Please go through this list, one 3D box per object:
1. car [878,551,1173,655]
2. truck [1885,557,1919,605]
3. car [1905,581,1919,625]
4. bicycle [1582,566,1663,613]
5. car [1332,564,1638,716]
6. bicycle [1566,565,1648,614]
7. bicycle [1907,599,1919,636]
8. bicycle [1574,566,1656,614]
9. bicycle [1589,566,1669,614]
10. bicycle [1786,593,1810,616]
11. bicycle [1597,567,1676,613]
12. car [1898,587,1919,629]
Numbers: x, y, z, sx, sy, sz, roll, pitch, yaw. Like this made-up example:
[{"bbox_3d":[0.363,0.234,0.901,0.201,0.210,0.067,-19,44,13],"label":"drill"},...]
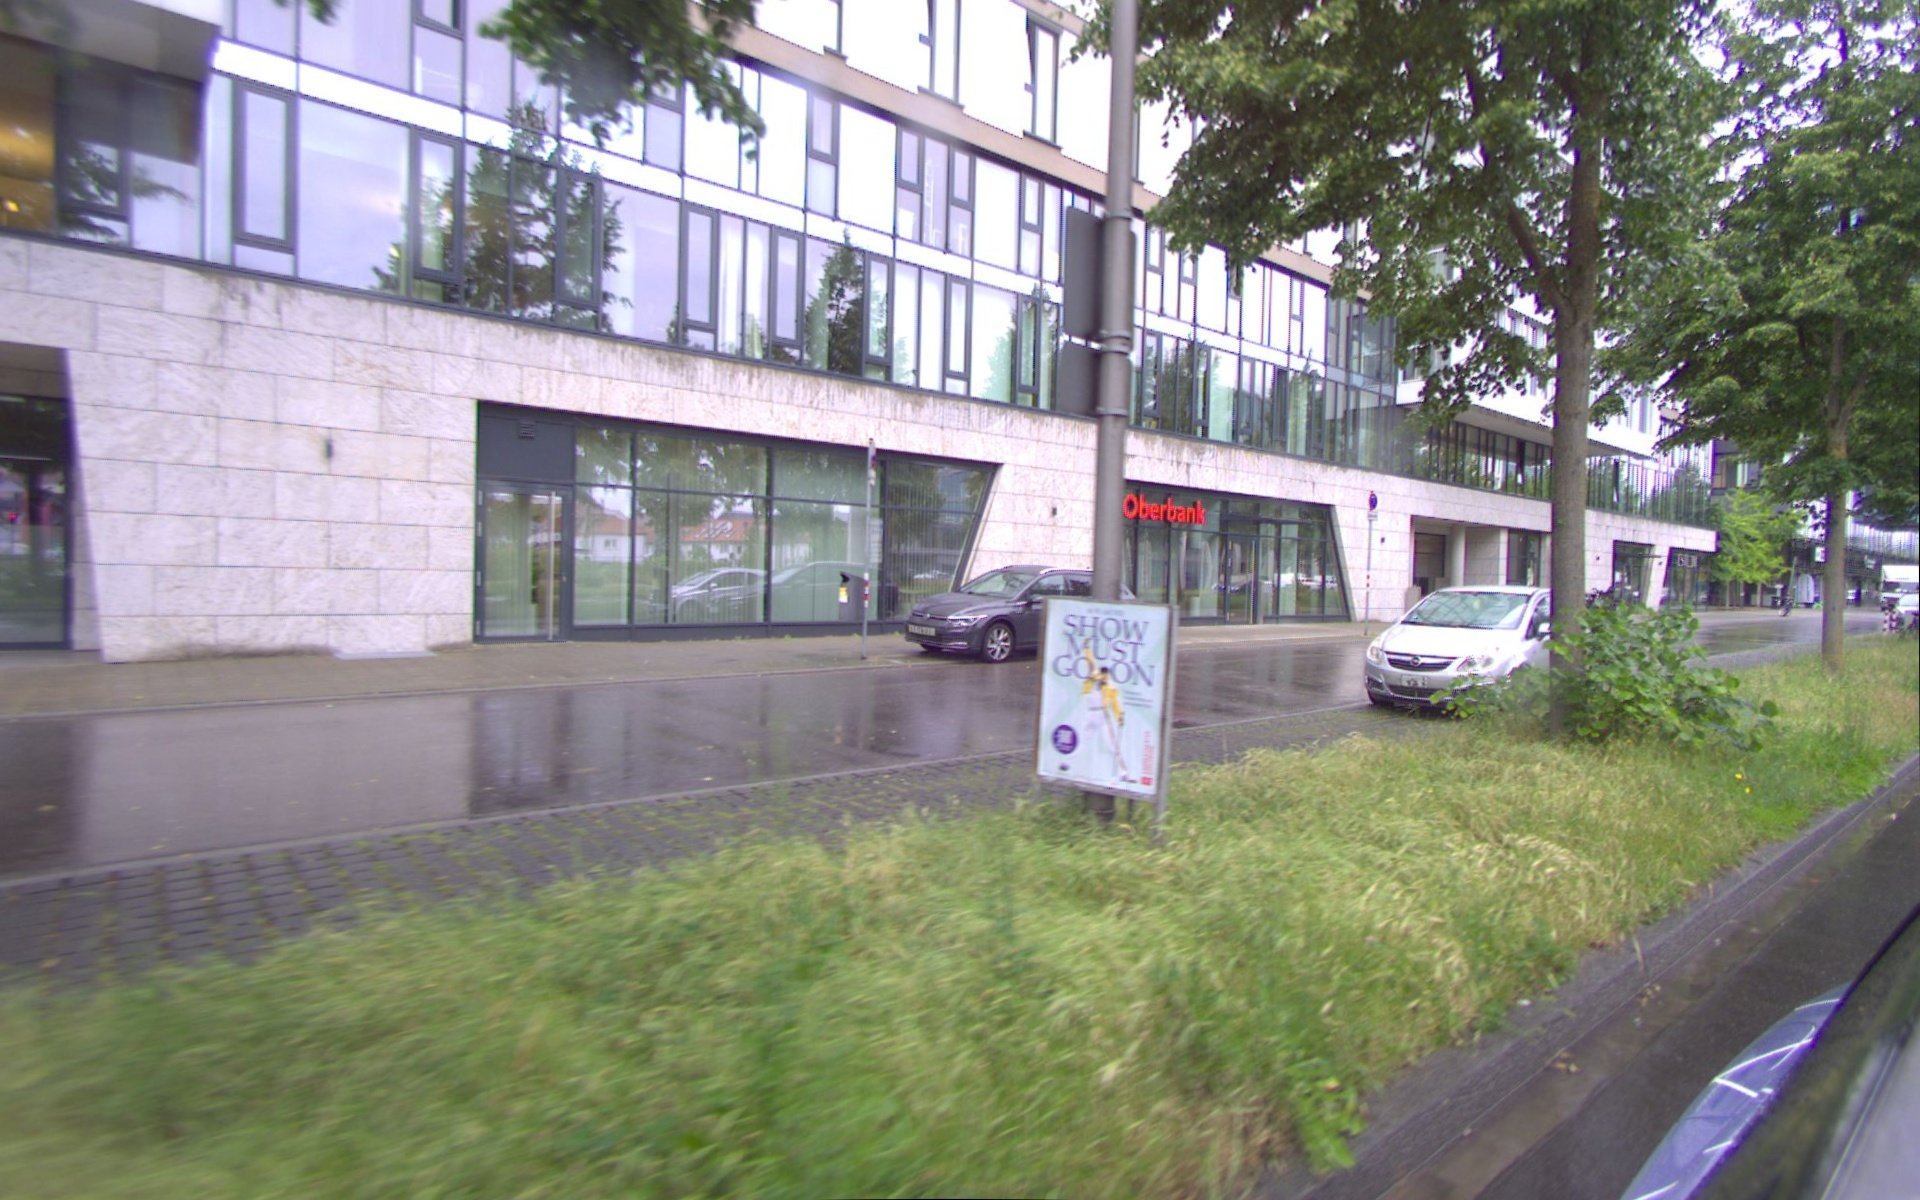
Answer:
[{"bbox_3d":[1.229,0.062,17.107,4.943,1.520,1.998,1,1,-40],"label":"car"},{"bbox_3d":[72.621,-1.354,76.648,8.403,3.484,3.028,0,2,-43],"label":"truck"},{"bbox_3d":[40.861,0.192,41.843,4.638,1.690,1.998,3,0,-40],"label":"car"},{"bbox_3d":[27.444,-0.457,41.990,0.693,1.883,2.690,1,2,-34],"label":"bicycle"},{"bbox_3d":[6.668,0.476,12.595,4.642,1.525,1.884,3,0,-43],"label":"car"},{"bbox_3d":[26.228,-0.441,41.093,0.693,1.883,2.690,1,2,-34],"label":"bicycle"},{"bbox_3d":[23.116,0.446,24.208,1.866,0.833,0.343,3,0,-37],"label":"bicycle"},{"bbox_3d":[26.828,-0.433,41.516,0.693,1.883,2.690,1,2,-34],"label":"bicycle"},{"bbox_3d":[28.034,-0.439,42.484,0.693,1.883,2.690,1,2,-34],"label":"bicycle"},{"bbox_3d":[44.367,0.243,53.557,2.026,1.144,0.520,0,1,-38],"label":"bicycle"},{"bbox_3d":[28.654,-0.448,42.909,0.693,1.883,2.690,1,2,-34],"label":"bicycle"},{"bbox_3d":[36.516,0.339,37.907,3.591,1.509,1.629,2,1,-41],"label":"car"}]
